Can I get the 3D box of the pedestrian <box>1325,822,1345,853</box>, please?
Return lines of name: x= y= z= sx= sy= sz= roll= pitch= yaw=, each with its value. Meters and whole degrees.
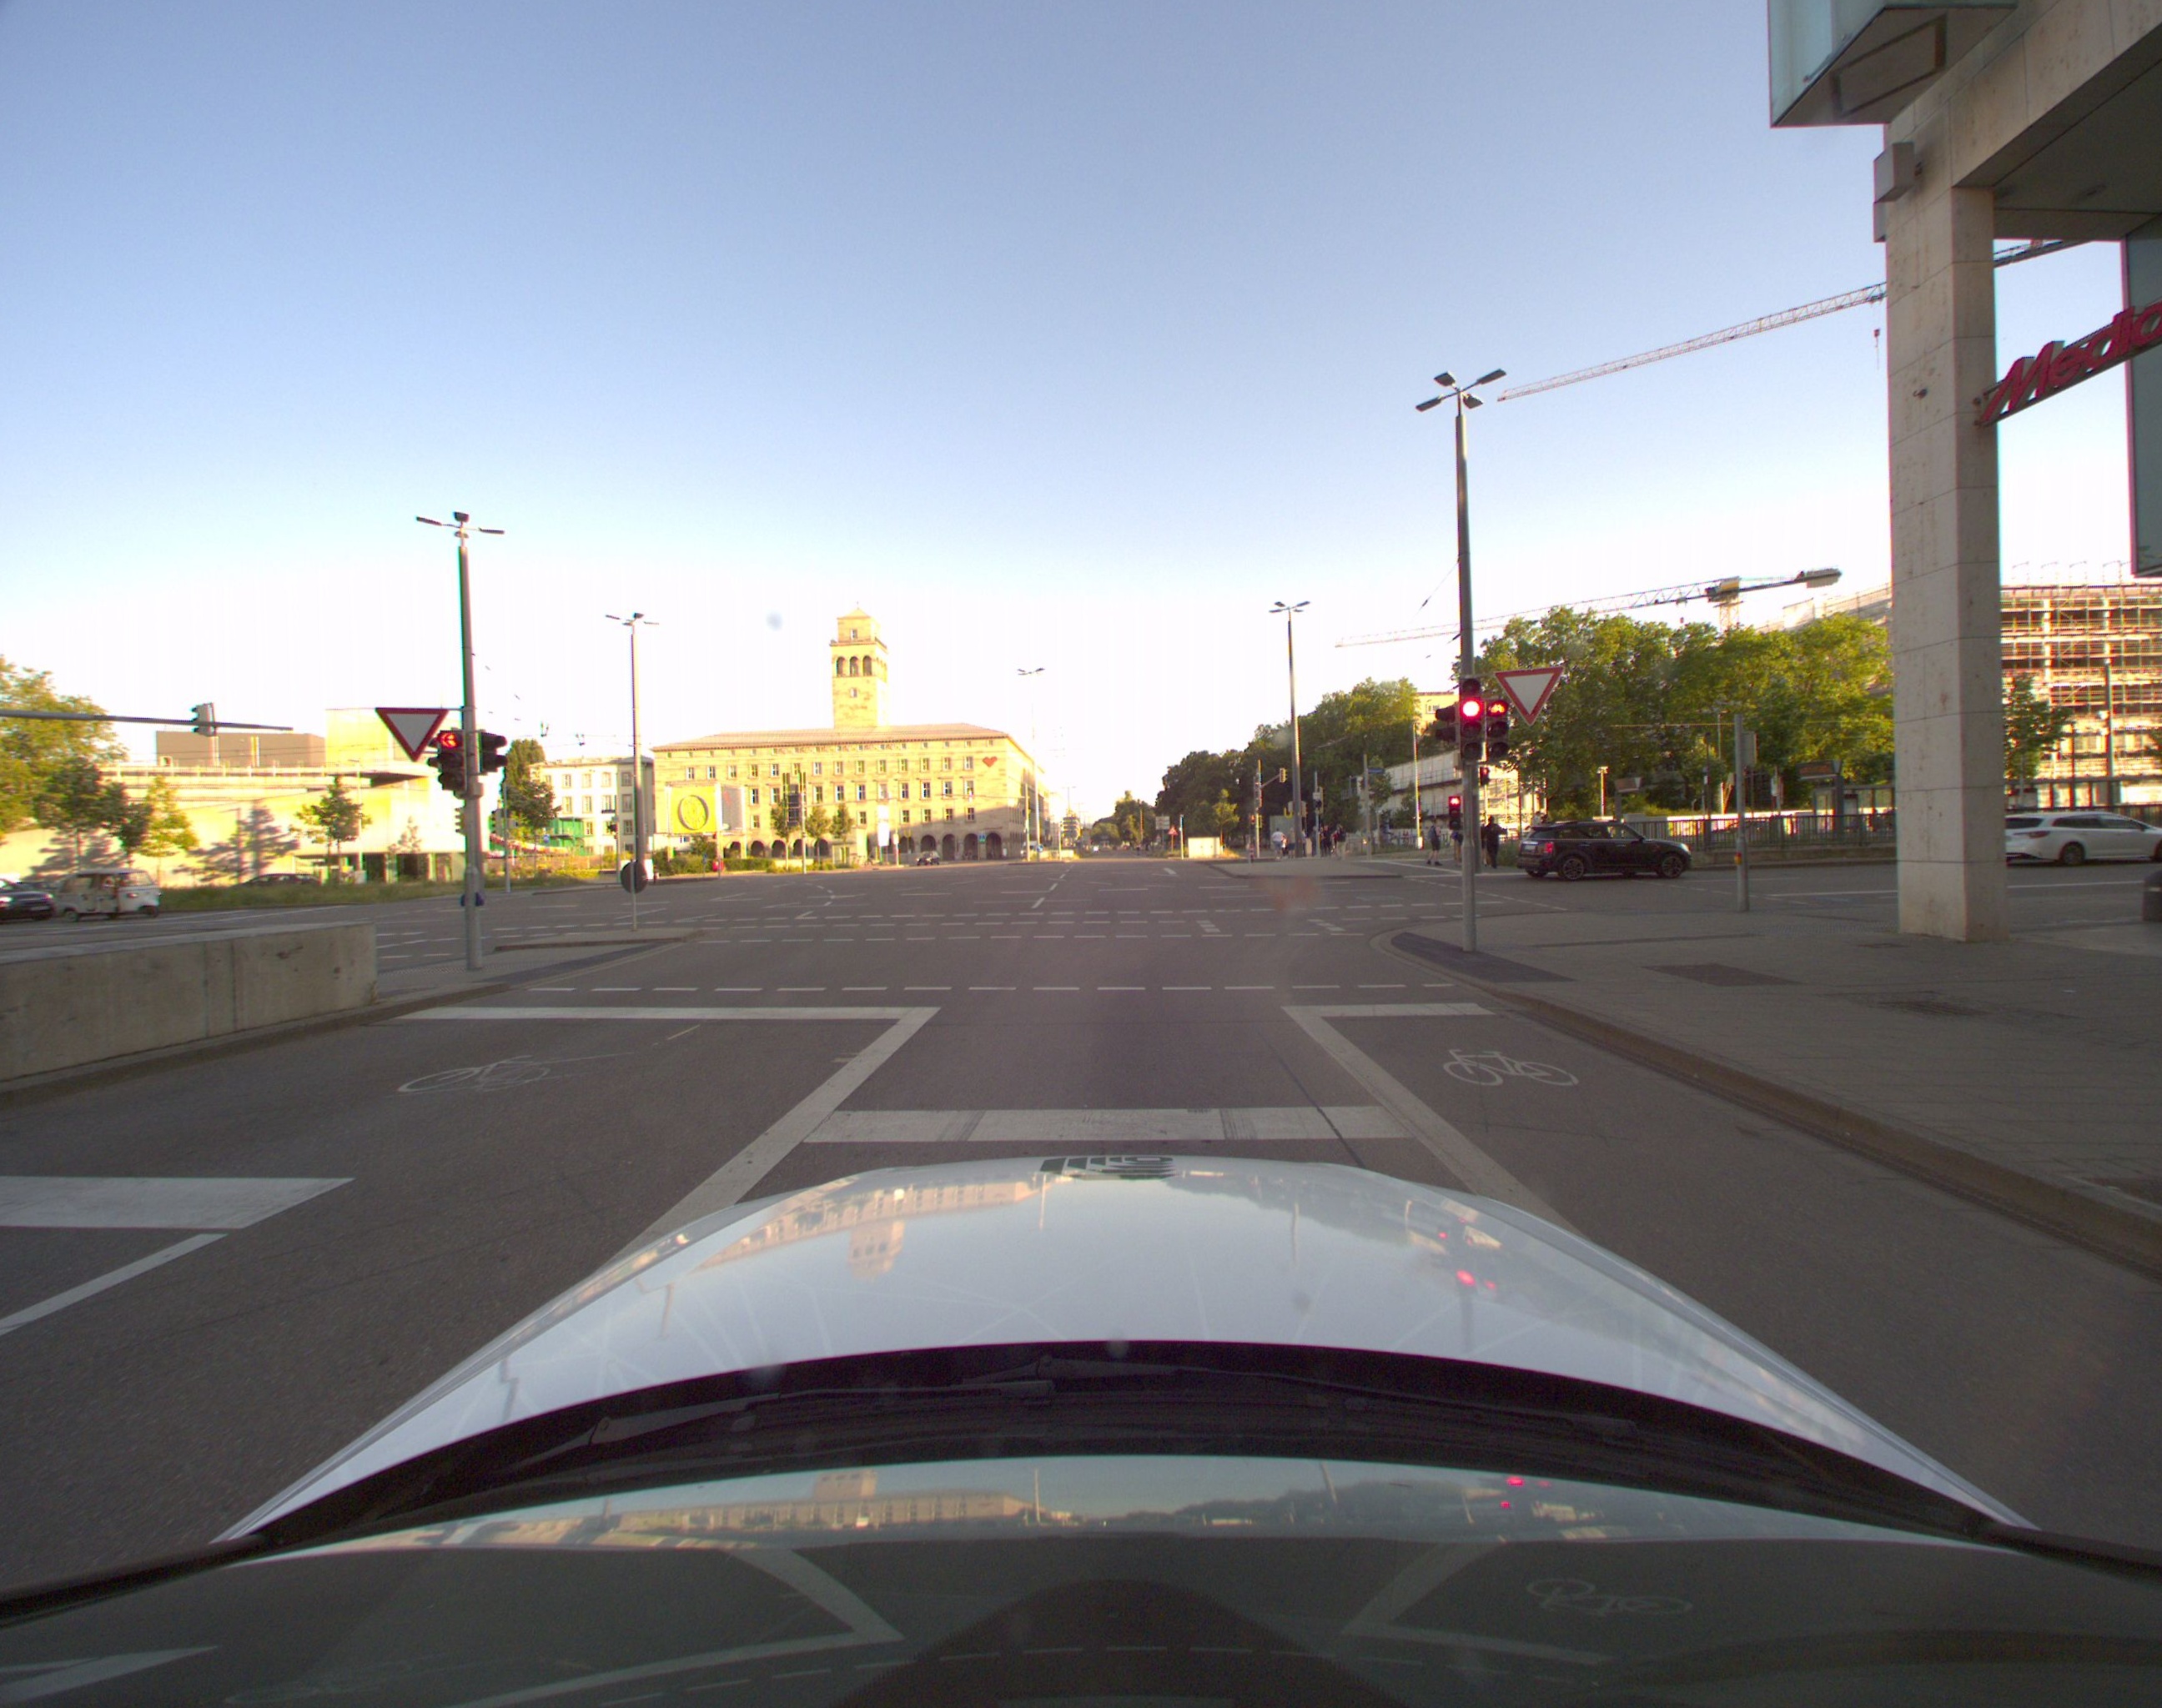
pedestrian: x=14.628 y=-0.953 z=46.905 sx=0.689 sy=1.729 sz=0.804 roll=-2 pitch=1 yaw=-24

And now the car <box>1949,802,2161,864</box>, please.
car: x=27.511 y=-0.605 z=22.489 sx=4.779 sy=1.495 sz=2.129 roll=-2 pitch=1 yaw=1

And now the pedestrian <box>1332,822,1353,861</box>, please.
pedestrian: x=11.806 y=-0.568 z=36.784 sx=0.689 sy=1.729 sz=0.742 roll=-2 pitch=1 yaw=4

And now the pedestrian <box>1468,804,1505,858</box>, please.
pedestrian: x=14.145 y=-0.803 z=28.412 sx=0.890 sy=1.840 sz=0.687 roll=-2 pitch=1 yaw=-2

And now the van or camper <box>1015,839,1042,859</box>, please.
van or camper: x=-7.860 y=-0.766 z=122.202 sx=1.867 sy=2.760 sz=4.960 roll=-2 pitch=1 yaw=24

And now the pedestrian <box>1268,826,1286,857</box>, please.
pedestrian: x=11.120 y=-0.722 z=46.268 sx=0.805 sy=1.729 sz=0.688 roll=-2 pitch=1 yaw=0

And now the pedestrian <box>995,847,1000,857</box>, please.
pedestrian: x=-13.872 y=-0.278 z=134.618 sx=0.631 sy=1.567 sz=0.776 roll=-2 pitch=1 yaw=3

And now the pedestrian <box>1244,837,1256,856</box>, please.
pedestrian: x=15.555 y=-0.659 z=74.970 sx=0.805 sy=1.729 sz=0.929 roll=-2 pitch=1 yaw=0

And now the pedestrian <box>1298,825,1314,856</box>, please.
pedestrian: x=13.014 y=-0.770 z=47.099 sx=0.802 sy=1.729 sz=0.691 roll=-2 pitch=1 yaw=14

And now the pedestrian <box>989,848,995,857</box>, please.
pedestrian: x=-14.704 y=-0.237 z=134.160 sx=0.775 sy=1.567 sz=0.631 roll=-2 pitch=1 yaw=-20

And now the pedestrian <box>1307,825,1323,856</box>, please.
pedestrian: x=13.309 y=-0.776 z=46.409 sx=0.802 sy=1.729 sz=0.691 roll=-2 pitch=1 yaw=14

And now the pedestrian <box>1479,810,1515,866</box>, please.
pedestrian: x=13.945 y=-0.518 z=27.277 sx=0.884 sy=1.830 sz=0.692 roll=-2 pitch=1 yaw=41

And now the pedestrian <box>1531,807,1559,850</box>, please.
pedestrian: x=19.194 y=-1.055 z=33.703 sx=0.682 sy=1.729 sz=0.840 roll=-2 pitch=1 yaw=7

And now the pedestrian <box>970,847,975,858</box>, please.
pedestrian: x=-16.123 y=-0.271 z=120.848 sx=0.631 sy=1.567 sz=0.776 roll=-2 pitch=1 yaw=3

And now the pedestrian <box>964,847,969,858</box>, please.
pedestrian: x=-16.882 y=-0.243 z=120.213 sx=0.631 sy=1.567 sz=0.776 roll=-2 pitch=1 yaw=3

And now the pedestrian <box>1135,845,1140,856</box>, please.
pedestrian: x=7.290 y=-0.504 z=104.245 sx=0.521 sy=1.374 sz=0.687 roll=-2 pitch=1 yaw=-2

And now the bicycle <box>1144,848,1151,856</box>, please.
bicycle: x=8.316 y=-0.286 z=102.017 sx=0.650 sy=0.970 sz=1.484 roll=-2 pitch=1 yaw=-1

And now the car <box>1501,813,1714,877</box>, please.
car: x=14.215 y=-0.250 z=22.207 sx=4.445 sy=1.495 sz=2.128 roll=-2 pitch=1 yaw=0

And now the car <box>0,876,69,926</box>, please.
car: x=-38.012 y=1.687 z=27.862 sx=4.176 sy=1.592 sz=1.693 roll=-2 pitch=1 yaw=-7

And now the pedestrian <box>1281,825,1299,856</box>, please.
pedestrian: x=11.879 y=-0.768 z=46.271 sx=0.805 sy=1.729 sz=0.688 roll=-2 pitch=1 yaw=0

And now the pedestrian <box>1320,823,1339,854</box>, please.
pedestrian: x=14.126 y=-0.858 z=46.332 sx=0.805 sy=1.729 sz=0.688 roll=-2 pitch=1 yaw=1

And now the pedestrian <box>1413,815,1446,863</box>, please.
pedestrian: x=12.760 y=-0.546 z=29.850 sx=0.685 sy=1.729 sz=0.893 roll=-2 pitch=1 yaw=-9

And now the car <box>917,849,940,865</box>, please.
car: x=-17.082 y=0.363 z=91.384 sx=1.988 sy=1.662 sz=3.997 roll=-2 pitch=1 yaw=-2

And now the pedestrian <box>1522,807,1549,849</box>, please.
pedestrian: x=19.308 y=-1.081 z=34.574 sx=0.682 sy=1.729 sz=0.840 roll=-2 pitch=1 yaw=5

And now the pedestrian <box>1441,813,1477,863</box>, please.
pedestrian: x=13.371 y=-0.558 z=28.811 sx=0.891 sy=1.729 sz=0.687 roll=-2 pitch=1 yaw=-4

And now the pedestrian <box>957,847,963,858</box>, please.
pedestrian: x=-17.983 y=-0.193 z=121.192 sx=0.631 sy=1.567 sz=0.776 roll=-2 pitch=1 yaw=3

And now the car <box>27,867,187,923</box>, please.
car: x=-33.503 y=1.375 z=28.110 sx=3.133 sy=1.685 sz=1.605 roll=-2 pitch=1 yaw=-12

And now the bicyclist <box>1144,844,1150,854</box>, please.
bicyclist: x=8.283 y=-0.616 z=102.055 sx=0.650 sy=1.223 sz=0.861 roll=-2 pitch=1 yaw=-2

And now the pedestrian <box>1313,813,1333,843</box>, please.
pedestrian: x=14.234 y=-1.518 z=47.875 sx=0.690 sy=1.729 sz=0.803 roll=-2 pitch=1 yaw=-31
